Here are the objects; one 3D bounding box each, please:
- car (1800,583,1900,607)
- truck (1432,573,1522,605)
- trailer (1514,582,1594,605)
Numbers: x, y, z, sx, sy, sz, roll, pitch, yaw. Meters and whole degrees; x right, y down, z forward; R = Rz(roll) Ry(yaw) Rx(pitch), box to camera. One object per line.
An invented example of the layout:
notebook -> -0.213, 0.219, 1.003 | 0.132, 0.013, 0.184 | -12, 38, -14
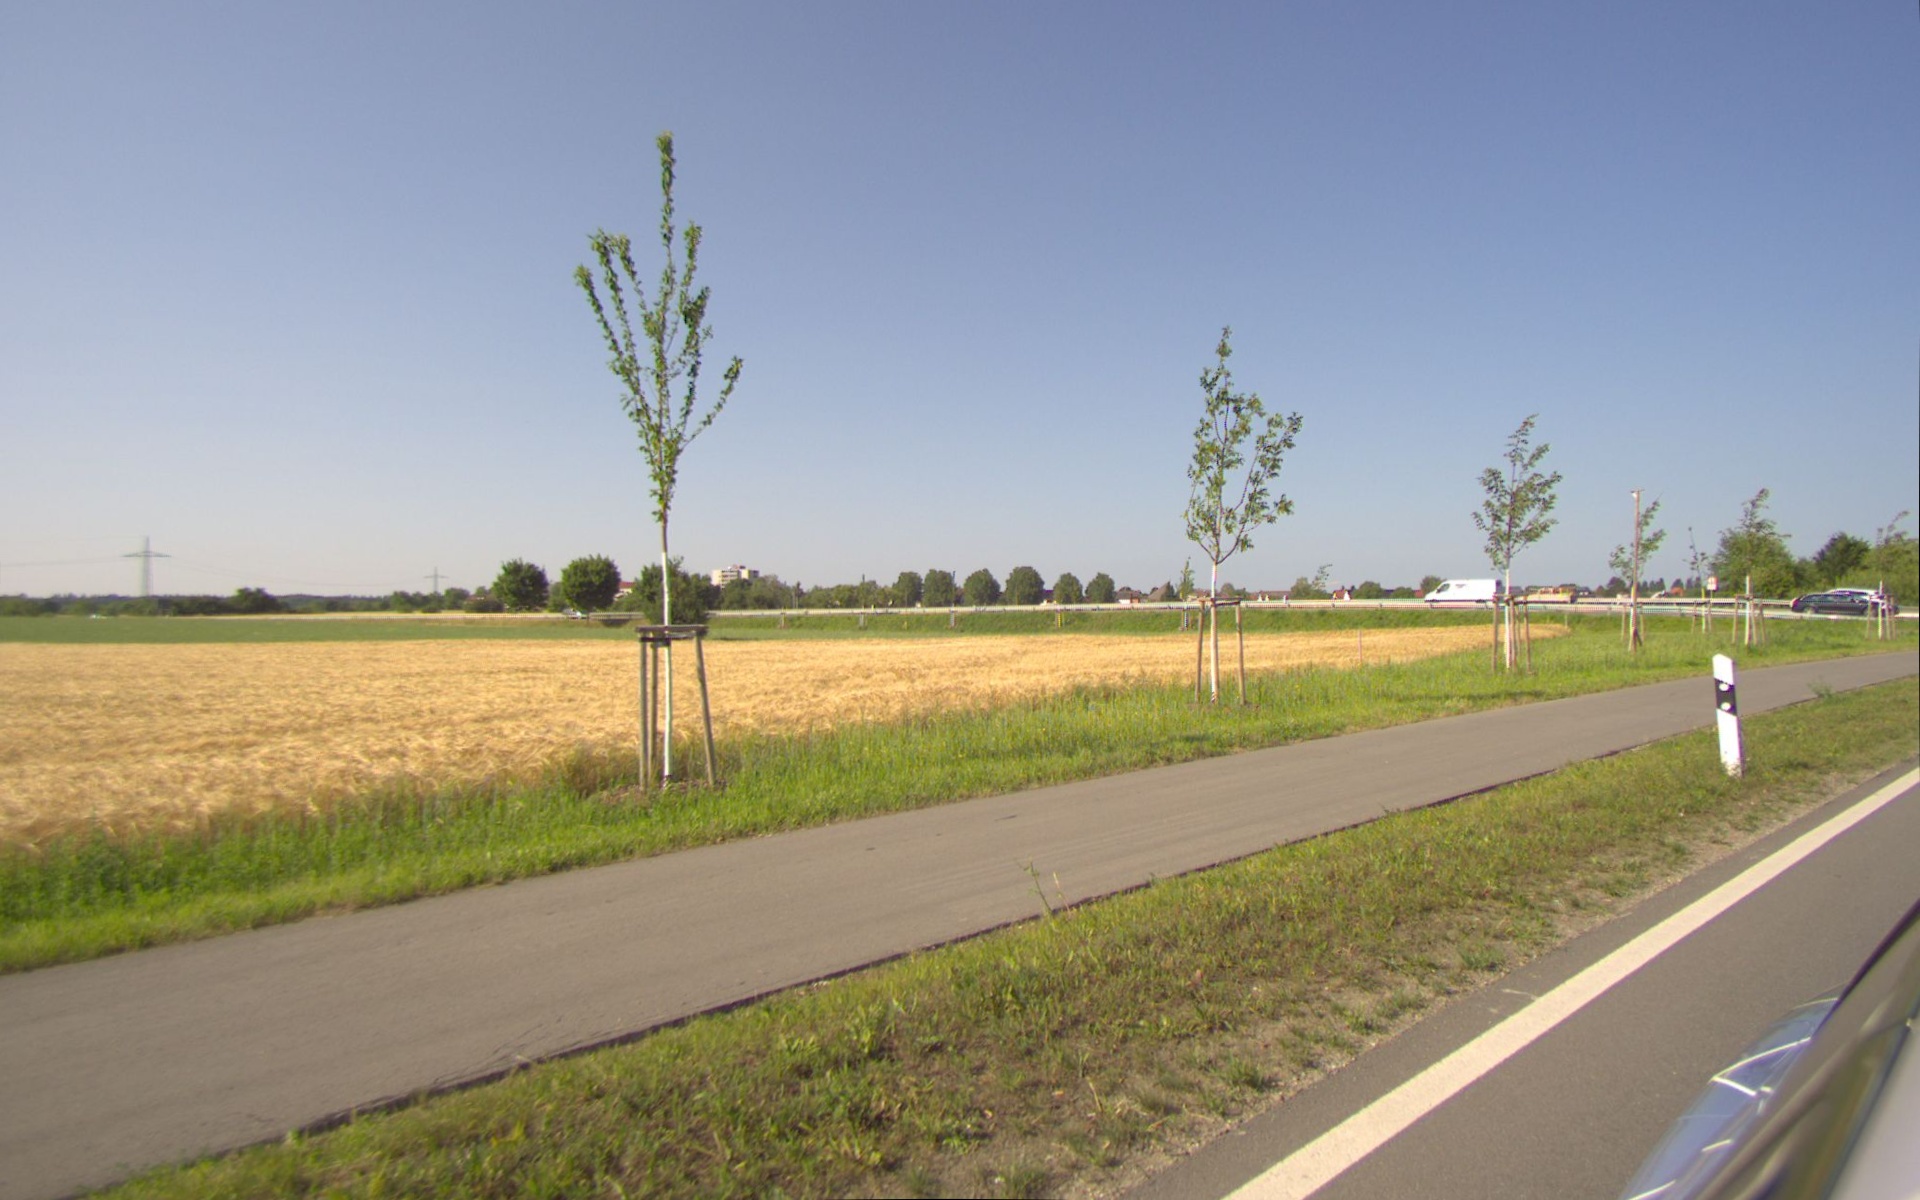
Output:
car -> 57.377, -0.359, 65.272 | 1.735, 1.510, 4.699 | 0, 1, -42
truck -> 41.720, -0.910, 81.788 | 2.037, 2.435, 6.183 | -1, 1, -43
trailer -> 45.569, -0.515, 77.694 | 1.948, 1.759, 4.999 | -1, 1, -44
